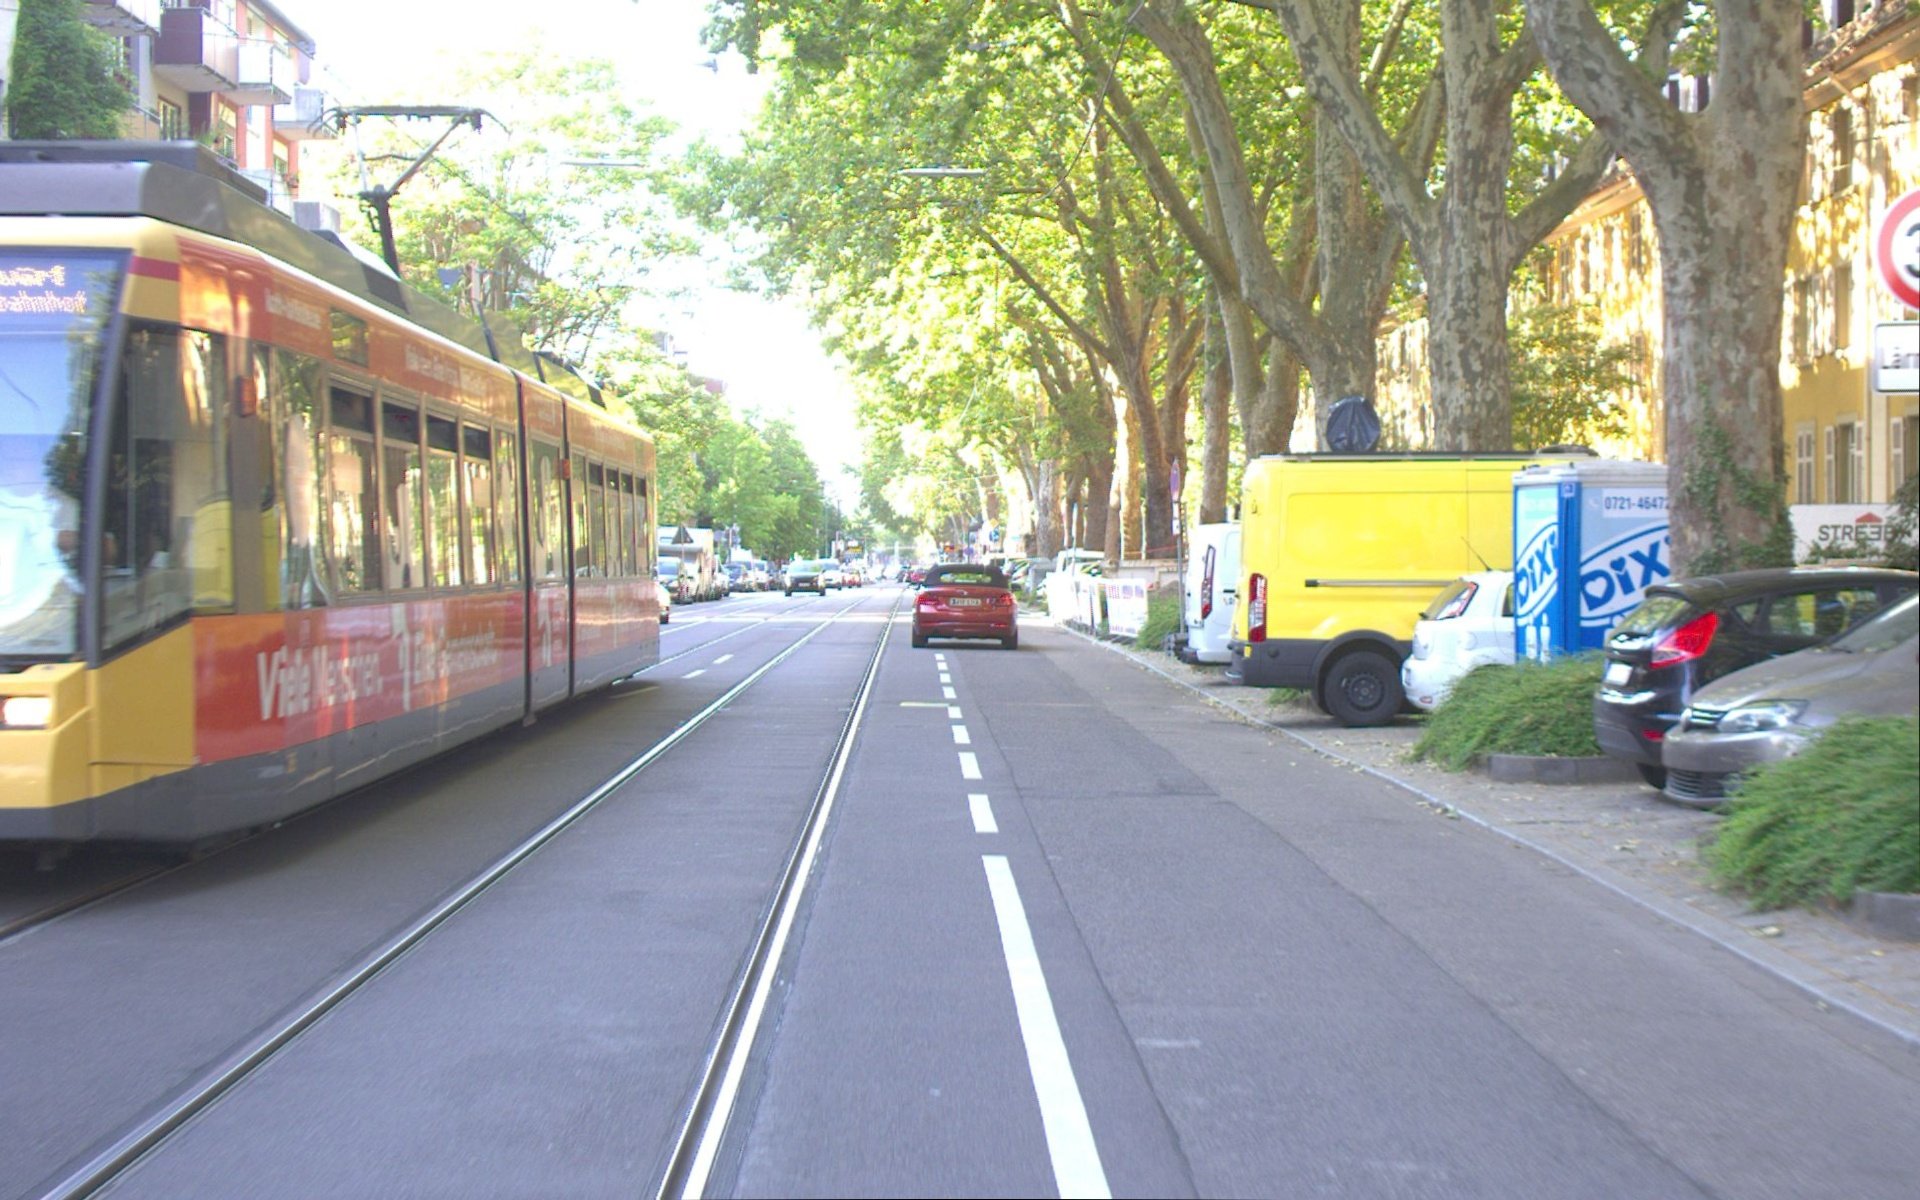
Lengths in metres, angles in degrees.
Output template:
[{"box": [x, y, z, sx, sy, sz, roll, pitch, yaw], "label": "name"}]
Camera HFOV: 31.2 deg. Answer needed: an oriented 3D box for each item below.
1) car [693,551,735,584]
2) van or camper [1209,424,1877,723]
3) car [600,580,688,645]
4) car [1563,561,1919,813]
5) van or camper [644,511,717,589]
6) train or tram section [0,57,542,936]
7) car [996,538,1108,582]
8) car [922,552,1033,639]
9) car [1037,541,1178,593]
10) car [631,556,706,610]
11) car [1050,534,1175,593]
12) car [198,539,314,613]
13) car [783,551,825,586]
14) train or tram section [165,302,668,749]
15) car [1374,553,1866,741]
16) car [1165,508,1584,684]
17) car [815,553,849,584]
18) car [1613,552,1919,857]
[{"box": [-11.717, -1.554, 164.038, 1.836, 1.463, 5.070, 2, 1, -3], "label": "car"}, {"box": [5.406, -0.238, 32.569, 5.926, 2.620, 2.270, -1, 0, 2], "label": "van or camper"}, {"box": [-7.532, 0.272, 82.313, 1.795, 1.441, 4.717, 1, 1, -2], "label": "car"}, {"box": [5.806, 0.489, 21.526, 3.652, 1.422, 1.738, -2, 1, -4], "label": "car"}, {"box": [-11.414, -2.037, 140.818, 2.337, 3.030, 6.397, 2, 1, 0], "label": "van or camper"}, {"box": [-4.660, -0.504, 20.306, 2.908, 3.474, 13.370, -1, 1, -1], "label": "train or tram section"}, {"box": [3.812, -1.660, 142.380, 4.497, 1.596, 2.027, -2, 1, 3], "label": "car"}, {"box": [0.278, -0.098, 58.190, 1.792, 1.384, 4.236, 0, 1, 0], "label": "car"}, {"box": [4.421, -0.982, 103.342, 4.087, 1.516, 1.917, -1, 0, -2], "label": "car"}, {"box": [-8.393, -0.504, 99.185, 1.795, 1.441, 4.053, -2, 1, 0], "label": "car"}, {"box": [4.783, -1.142, 107.624, 3.844, 1.766, 1.916, -1, 1, 3], "label": "car"}, {"box": [-20.560, -0.690, 100.262, 1.993, 2.116, 4.723, 0, 0, -29], "label": "car"}, {"box": [-7.320, -1.493, 161.510, 1.853, 1.595, 4.464, 2, 1, -2], "label": "car"}, {"box": [-4.869, -0.699, 34.123, 2.908, 3.474, 14.199, -1, 1, -1], "label": "train or tram section"}, {"box": [5.642, 0.383, 29.758, 3.906, 1.484, 1.863, -1, 1, 1], "label": "car"}, {"box": [5.021, -0.071, 42.158, 4.834, 2.006, 2.064, -1, 1, -1], "label": "car"}, {"box": [-7.559, -1.867, 203.529, 1.891, 1.826, 4.896, -1, 1, -1], "label": "car"}, {"box": [5.847, 0.499, 18.959, 4.076, 1.544, 1.831, -2, 1, -1], "label": "car"}]
